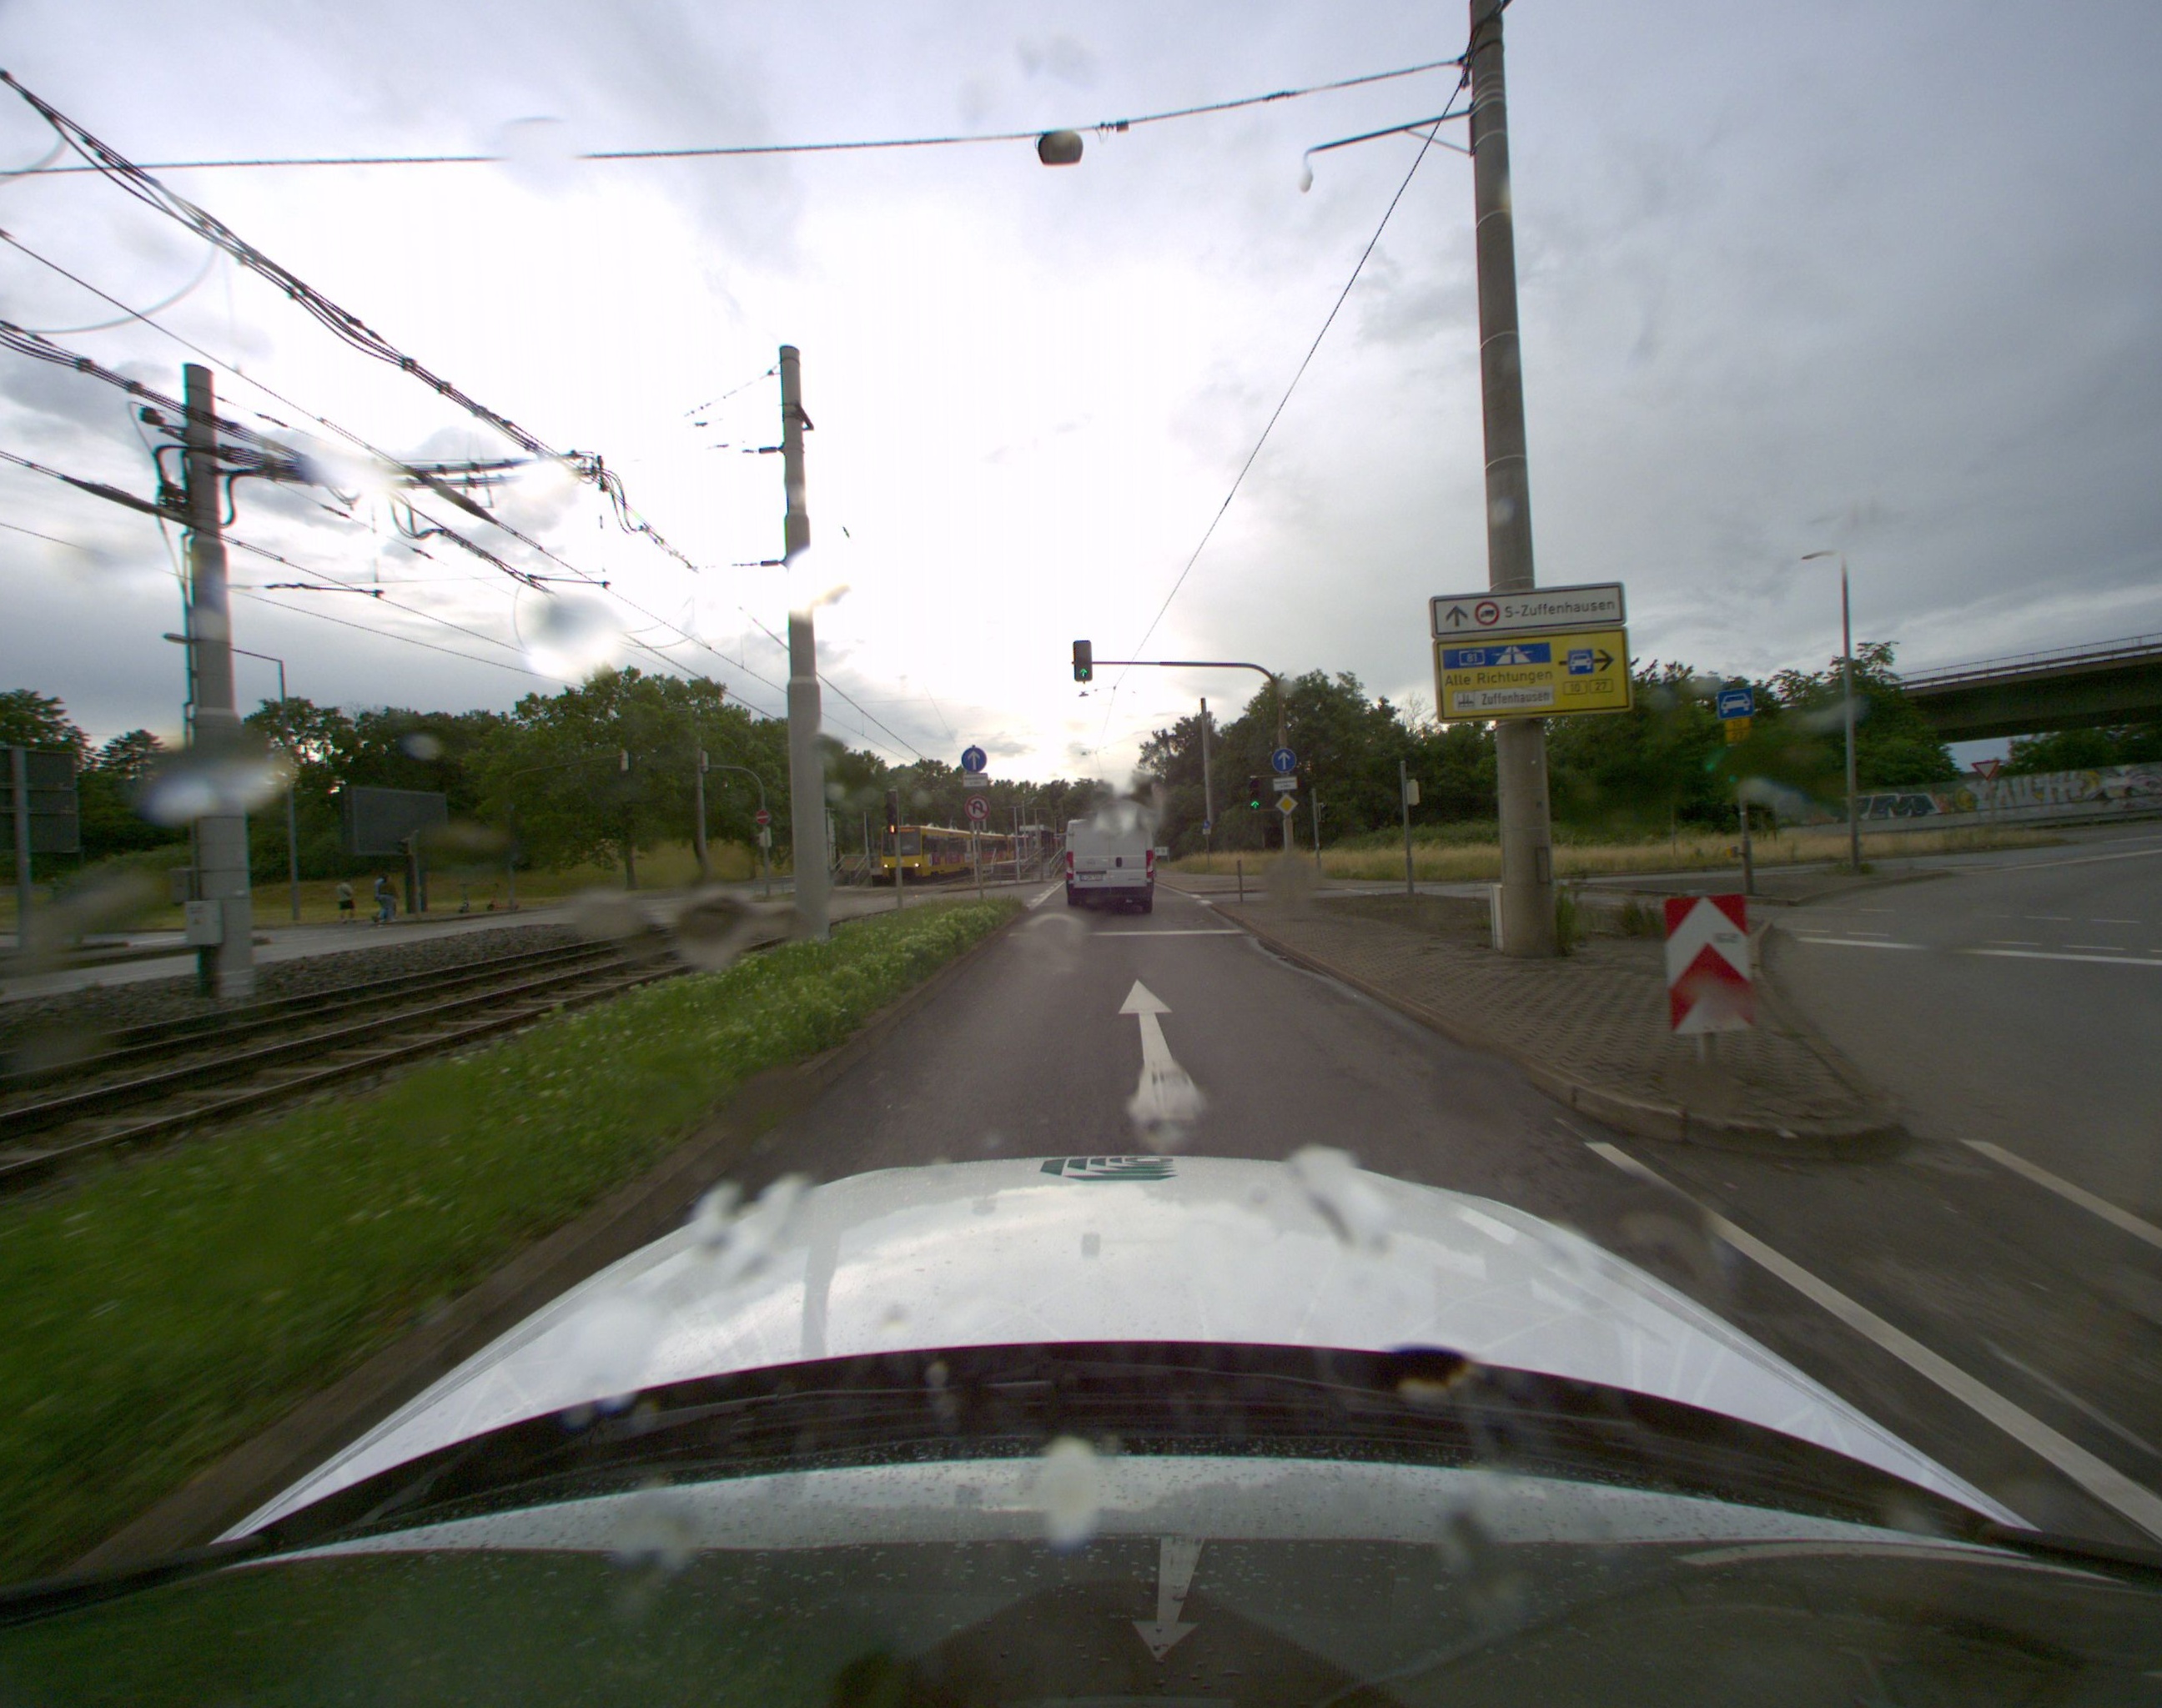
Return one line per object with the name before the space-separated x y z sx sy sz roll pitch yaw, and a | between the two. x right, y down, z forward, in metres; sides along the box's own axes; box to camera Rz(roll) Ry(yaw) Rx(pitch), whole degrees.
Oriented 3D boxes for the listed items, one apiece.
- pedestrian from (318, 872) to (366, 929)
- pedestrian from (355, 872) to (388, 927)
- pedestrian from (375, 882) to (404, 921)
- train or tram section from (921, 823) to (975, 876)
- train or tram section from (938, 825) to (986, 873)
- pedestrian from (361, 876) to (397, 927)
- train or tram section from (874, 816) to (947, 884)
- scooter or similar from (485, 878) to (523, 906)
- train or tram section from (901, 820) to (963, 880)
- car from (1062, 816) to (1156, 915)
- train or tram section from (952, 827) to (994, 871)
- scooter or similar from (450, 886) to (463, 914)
pedestrian | -27.339 1.707 30.142 0.886 2.013 0.864 -3 0 -6
pedestrian | -25.647 1.632 29.449 0.493 1.955 0.722 -1 0 3
pedestrian | -26.747 1.825 31.514 0.494 1.473 0.722 -1 0 1
train or tram section | -10.304 -0.369 63.847 2.918 3.932 7.007 -1 0 1
train or tram section | -10.181 -0.421 70.205 2.918 3.932 7.007 -1 0 1
pedestrian | -25.116 1.691 29.140 0.504 1.787 0.833 -1 0 4
train or tram section | -10.564 -0.264 51.195 2.918 3.932 7.007 -1 0 1
scooter or similar | -25.860 1.690 36.497 0.375 1.161 1.288 -2 1 44
train or tram section | -10.421 -0.317 57.601 2.918 3.932 7.007 -1 0 1
car | 0.610 0.242 20.882 2.084 2.196 5.059 -1 0 -1
train or tram section | -10.063 -0.473 76.560 2.918 3.932 7.007 -1 0 1
scooter or similar | -26.998 1.975 35.223 0.759 1.161 0.290 -2 1 45
